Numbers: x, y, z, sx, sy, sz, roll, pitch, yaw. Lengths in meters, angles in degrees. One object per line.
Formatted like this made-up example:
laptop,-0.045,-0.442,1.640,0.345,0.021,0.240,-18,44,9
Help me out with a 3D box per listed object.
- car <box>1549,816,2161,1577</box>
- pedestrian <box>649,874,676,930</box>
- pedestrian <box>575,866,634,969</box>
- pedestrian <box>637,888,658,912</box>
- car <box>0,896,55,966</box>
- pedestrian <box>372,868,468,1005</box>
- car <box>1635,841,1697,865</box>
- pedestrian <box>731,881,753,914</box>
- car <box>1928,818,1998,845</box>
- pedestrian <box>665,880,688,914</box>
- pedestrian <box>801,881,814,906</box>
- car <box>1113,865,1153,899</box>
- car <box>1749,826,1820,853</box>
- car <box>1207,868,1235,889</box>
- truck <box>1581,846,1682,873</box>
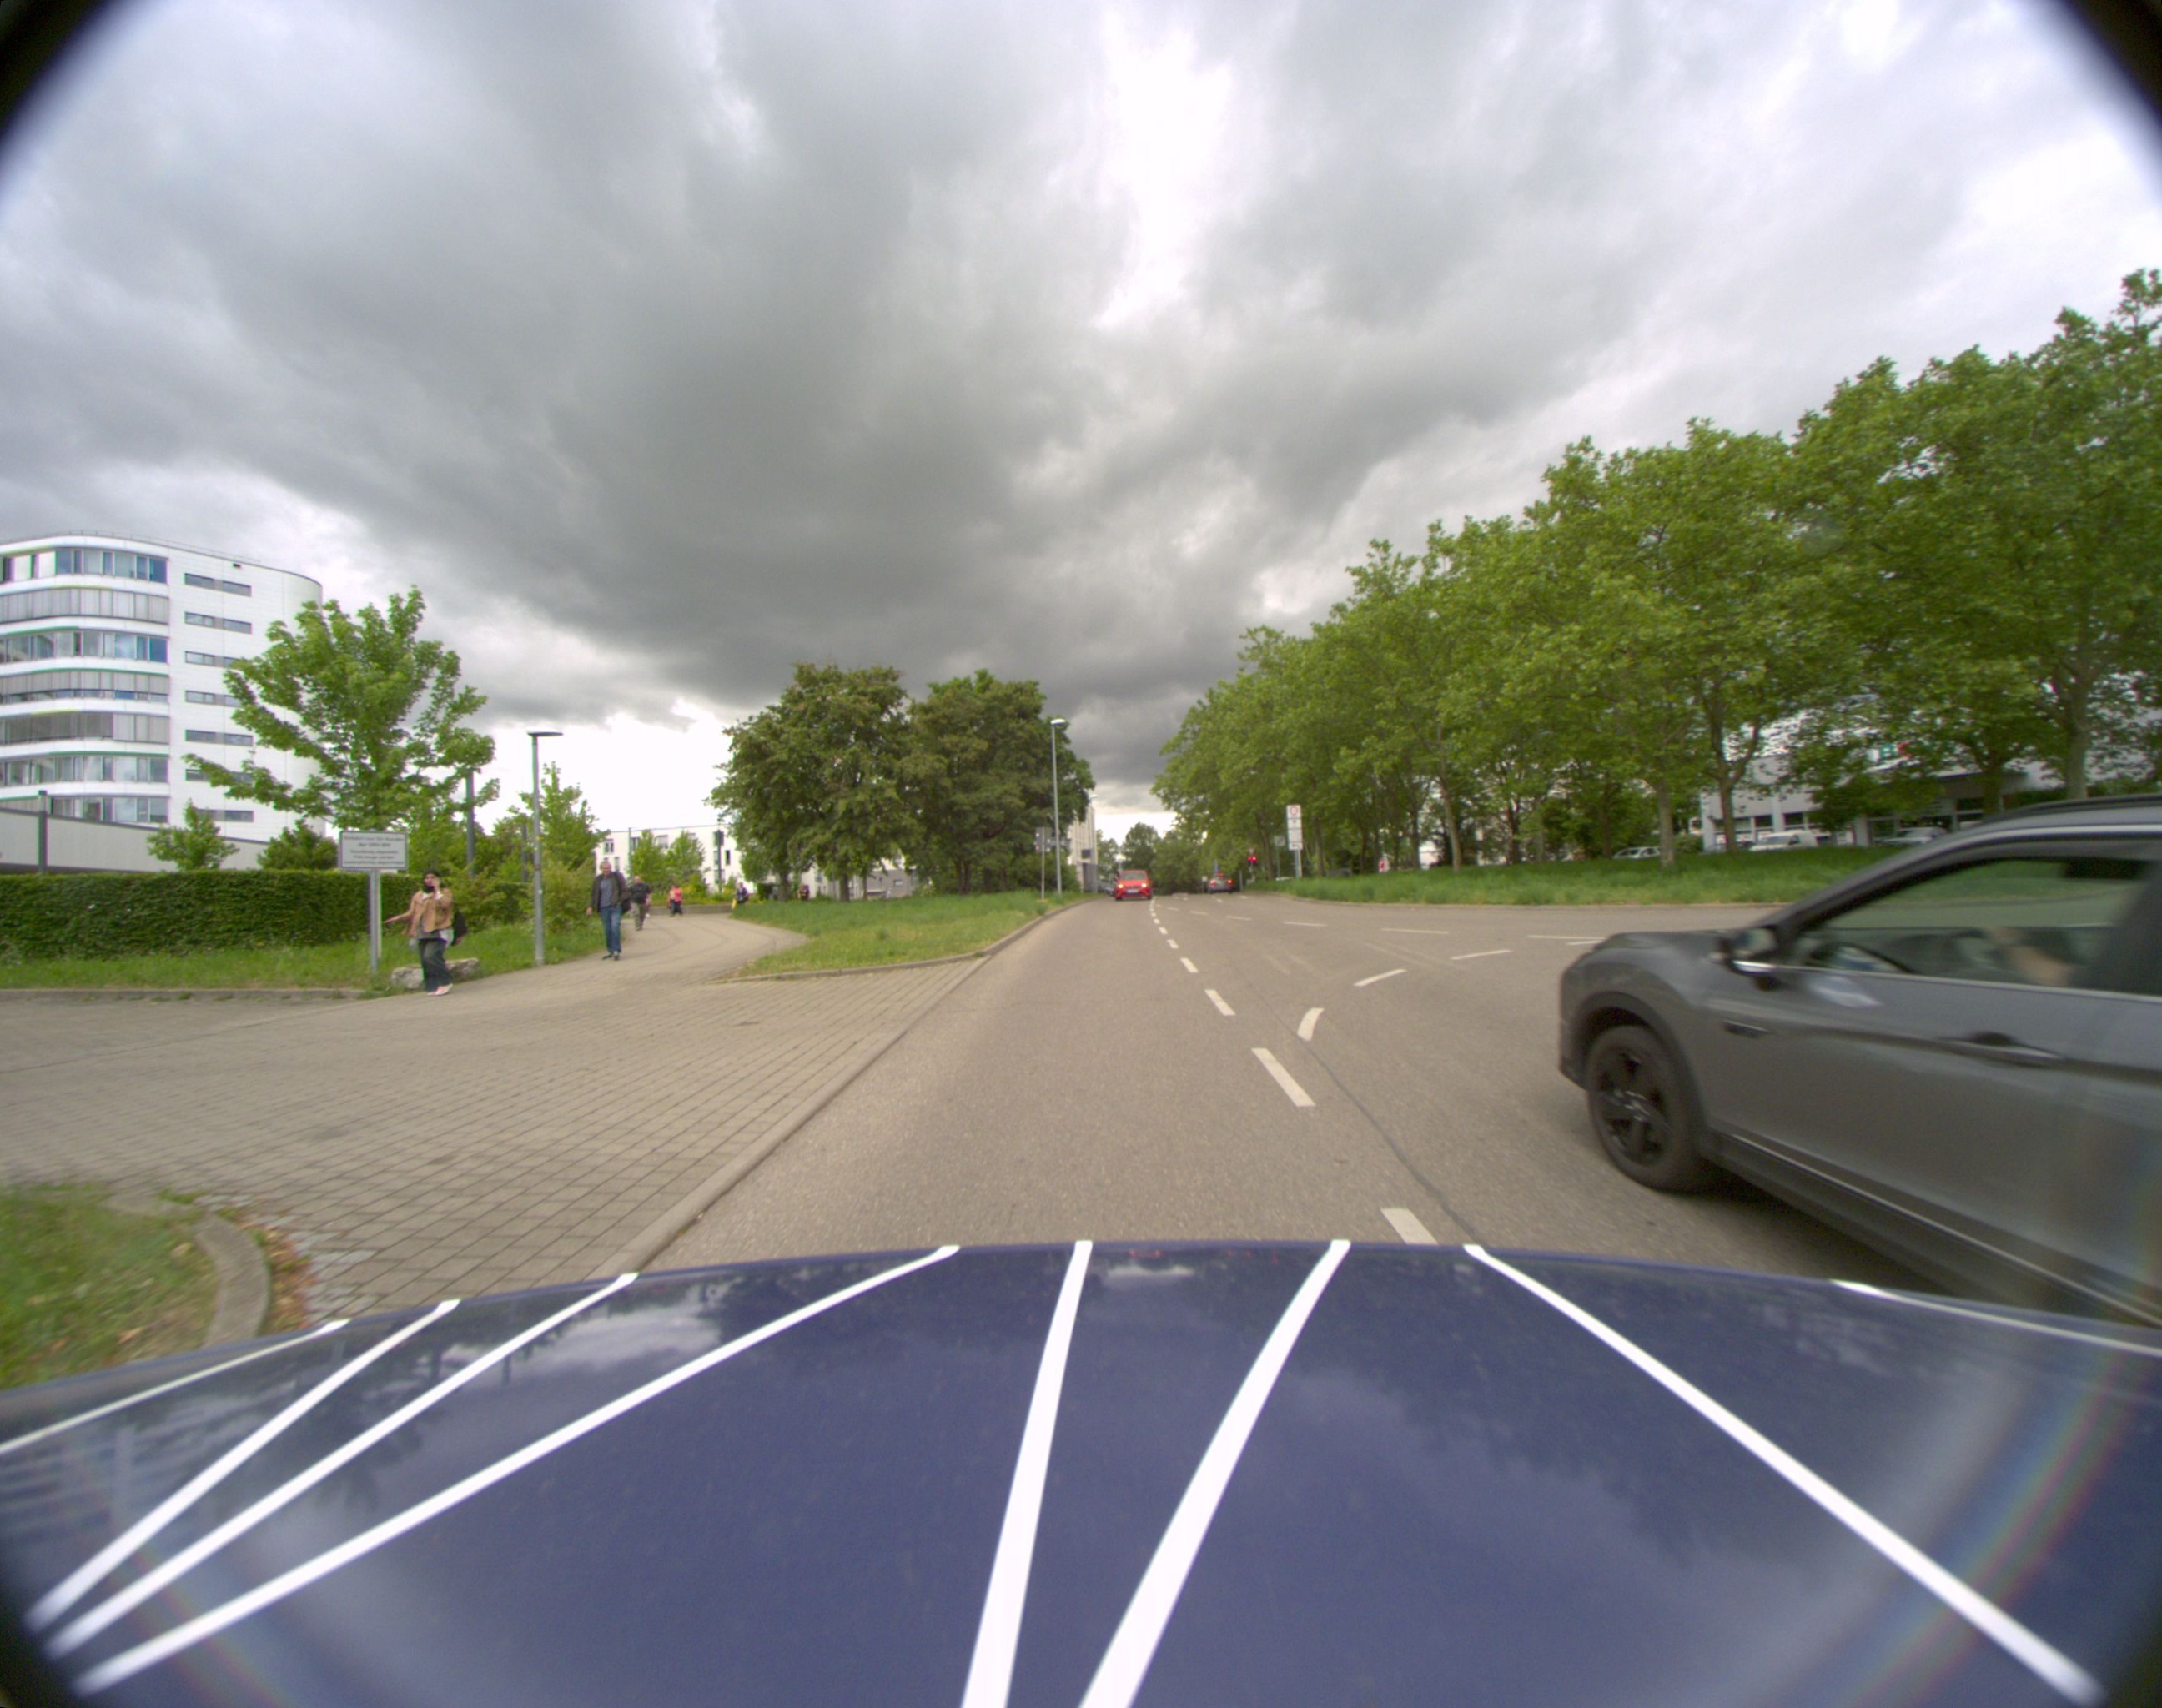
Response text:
car,3.222,0.752,1.691,1.900,1.573,4.169,3,-1,3
pedestrian,-12.555,1.427,22.780,0.639,1.634,0.602,-2,0,-29
pedestrian,-8.386,1.084,13.407,0.764,1.712,0.885,-2,0,-29
pedestrian,-21.964,2.342,38.515,0.675,1.134,0.667,-2,0,-4
car,-33.819,2.371,22.230,4.005,2.002,1.996,-2,0,-26
pedestrian,-8.591,1.030,9.917,0.653,1.659,0.896,-2,0,-24
car,40.029,-0.085,51.978,4.005,1.455,1.651,-2,0,-25
pedestrian,-16.866,2.161,37.779,0.674,1.597,0.668,-2,0,27
car,52.729,-1.342,45.416,4.005,1.455,1.651,-2,0,-25
pedestrian,-18.808,1.997,35.348,0.675,1.498,0.667,-2,0,-4
pedestrian,-15.921,2.266,44.215,0.676,1.406,0.666,-2,0,-21
car,2.590,1.376,37.278,1.758,1.506,4.003,-2,-2,5
car,41.917,-0.868,45.265,4.005,1.455,1.651,-2,0,-25
car,11.116,1.961,60.683,1.758,1.506,4.002,-2,0,5
truck,51.911,0.546,71.783,7.513,2.200,2.084,-2,0,9
